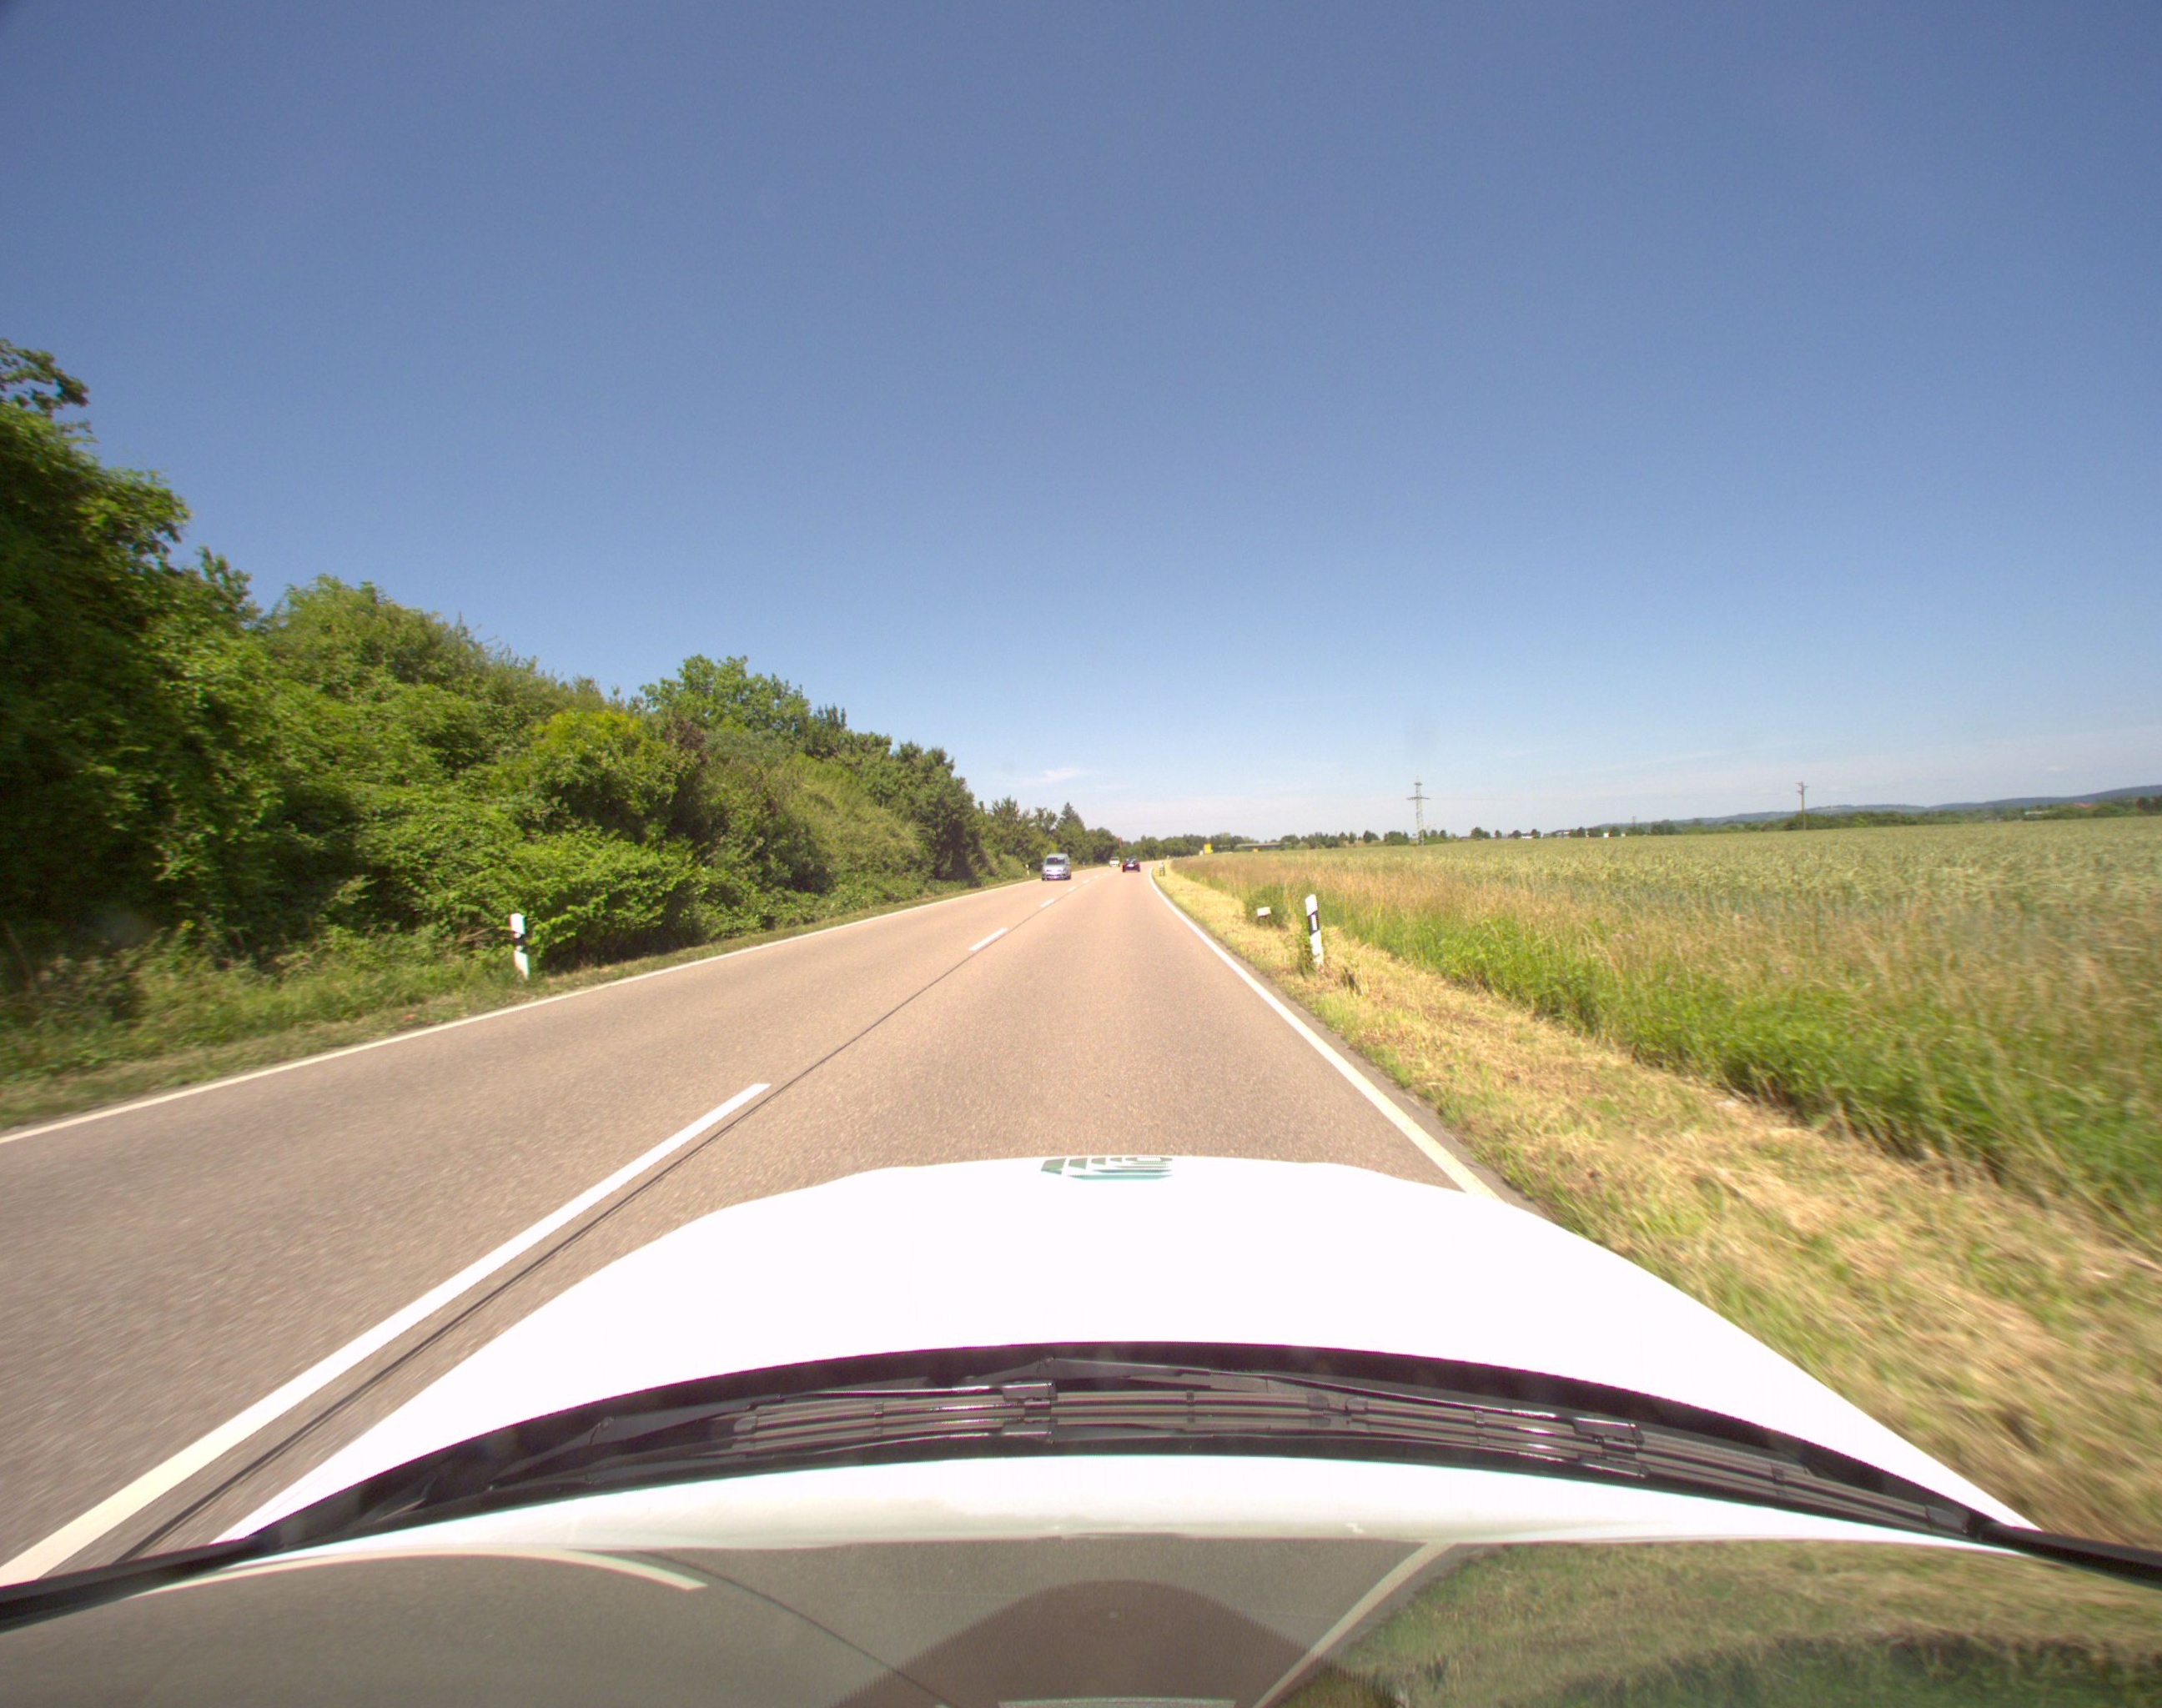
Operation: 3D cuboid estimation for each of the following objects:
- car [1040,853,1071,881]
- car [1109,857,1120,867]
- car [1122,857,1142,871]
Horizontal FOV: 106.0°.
[{"bbox_3d":[-1.706,0.894,56.801,1.755,1.819,4.807,-1,0,3],"label":"car"},{"bbox_3d":[5.187,1.279,126.321,1.489,1.495,3.838,-1,0,5],"label":"car"},{"bbox_3d":[5.169,0.996,81.903,1.804,1.441,4.008,-1,0,7],"label":"car"}]
